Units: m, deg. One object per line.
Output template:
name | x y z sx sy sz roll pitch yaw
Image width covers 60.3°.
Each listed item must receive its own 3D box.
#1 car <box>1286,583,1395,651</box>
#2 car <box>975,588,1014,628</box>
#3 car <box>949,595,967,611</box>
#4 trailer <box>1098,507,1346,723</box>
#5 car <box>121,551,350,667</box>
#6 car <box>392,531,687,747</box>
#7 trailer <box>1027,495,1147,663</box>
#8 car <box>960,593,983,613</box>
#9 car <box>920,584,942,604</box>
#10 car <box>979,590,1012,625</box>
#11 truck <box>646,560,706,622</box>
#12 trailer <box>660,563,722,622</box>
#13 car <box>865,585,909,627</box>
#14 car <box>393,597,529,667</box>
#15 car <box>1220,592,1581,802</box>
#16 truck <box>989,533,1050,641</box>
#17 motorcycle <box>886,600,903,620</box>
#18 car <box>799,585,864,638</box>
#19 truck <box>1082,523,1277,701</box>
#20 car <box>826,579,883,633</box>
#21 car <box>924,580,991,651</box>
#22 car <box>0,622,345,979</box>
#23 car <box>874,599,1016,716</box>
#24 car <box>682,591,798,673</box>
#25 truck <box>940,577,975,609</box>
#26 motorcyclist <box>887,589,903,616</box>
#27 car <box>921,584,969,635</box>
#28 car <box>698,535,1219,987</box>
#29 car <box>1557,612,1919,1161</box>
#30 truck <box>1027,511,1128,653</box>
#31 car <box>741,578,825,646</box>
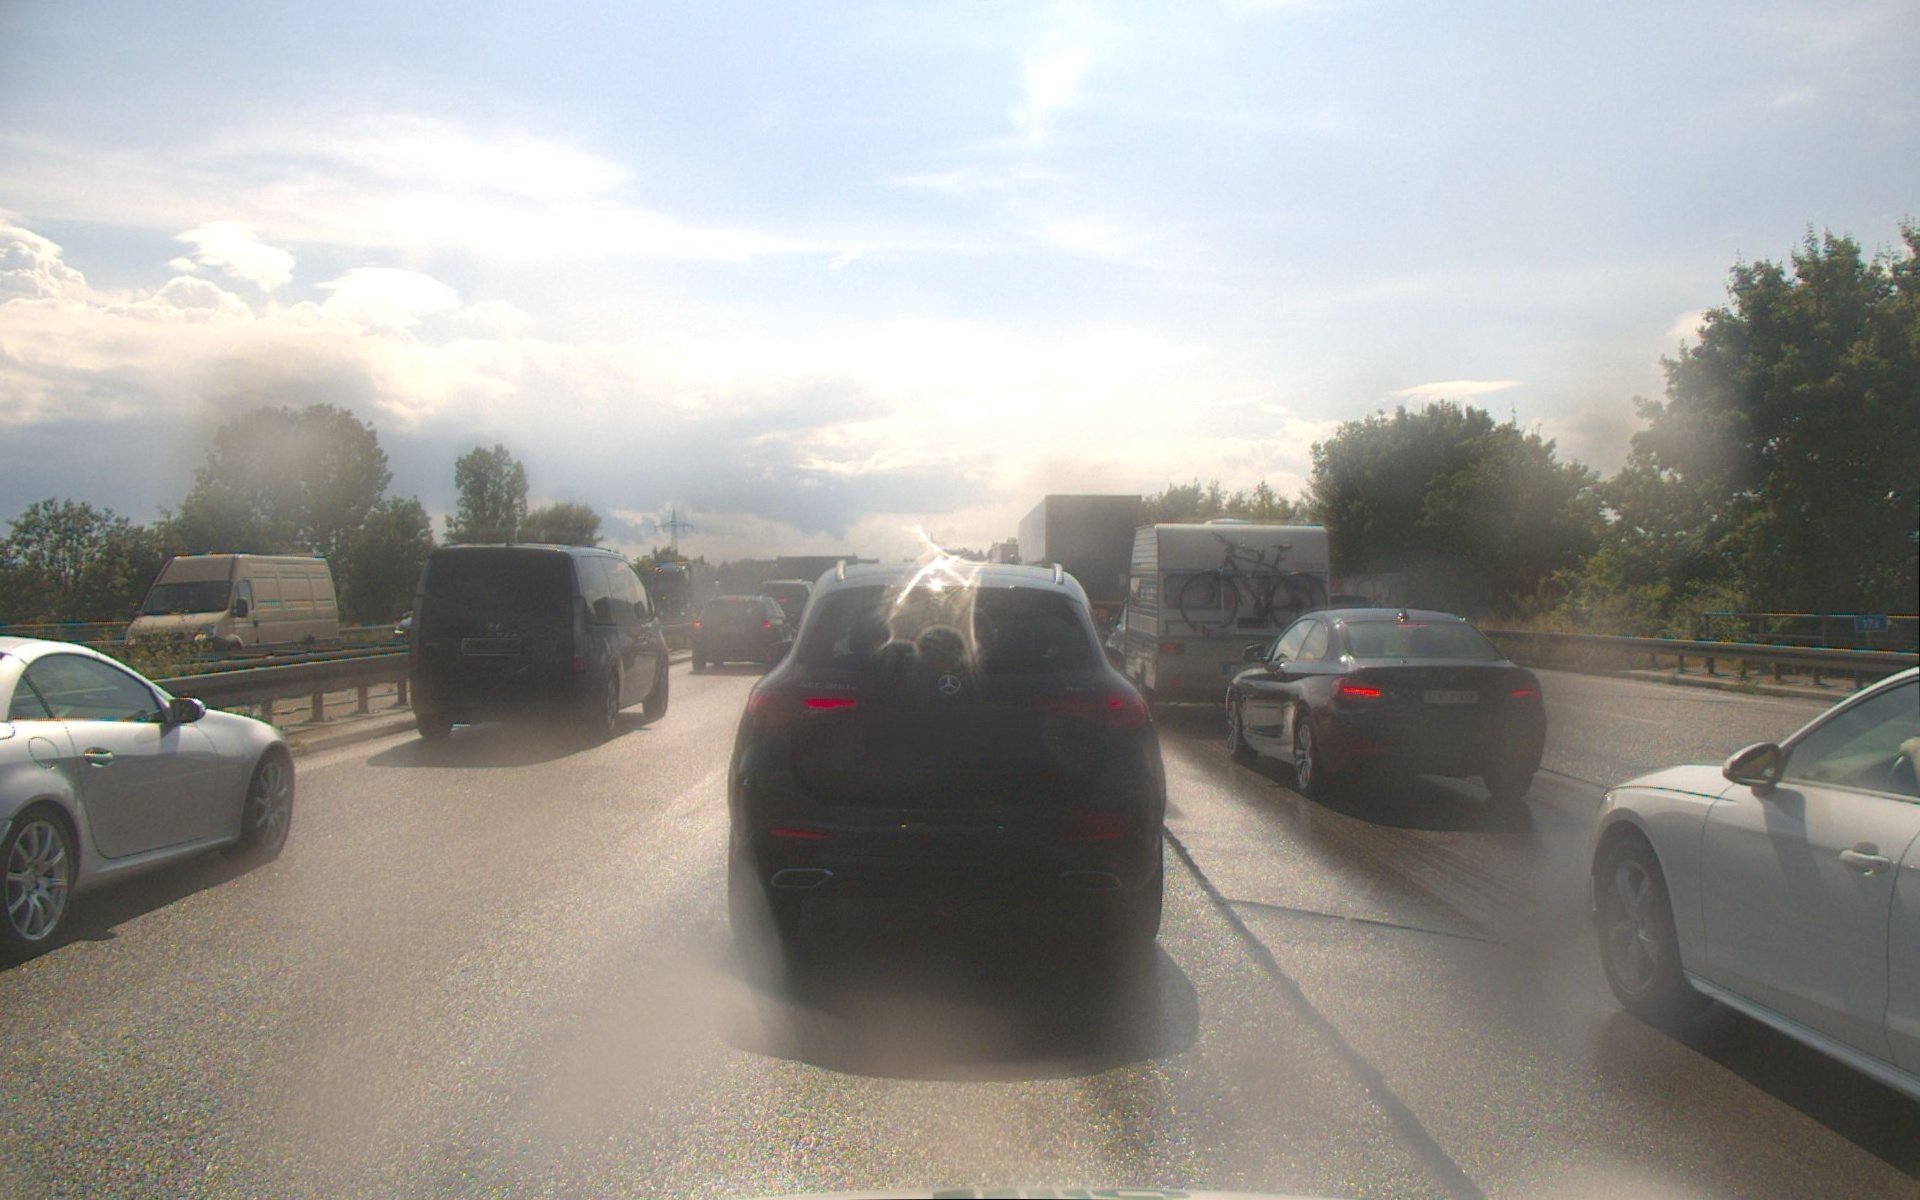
car | 9.825 0.410 43.041 1.783 1.649 4.363 1 0 0
car | 1.848 0.410 89.543 1.953 2.049 4.000 2 0 0
car | -0.204 0.316 192.080 1.838 1.791 3.997 1 0 -3
trailer | 3.388 0.184 22.885 2.326 2.526 6.522 1 0 0
car | -15.479 0.140 35.894 1.953 2.246 6.979 1 1 -1
car | -4.444 0.362 18.421 1.953 2.049 5.269 0 0 0
trailer | 3.426 -0.537 46.589 2.944 4.239 8.538 1 0 2
car | 1.050 0.247 151.087 1.838 1.791 3.997 1 0 -3
car | -2.648 -0.531 152.001 1.838 1.791 3.997 1 0 -3
car | 2.234 0.454 105.129 1.953 2.048 4.000 4 0 0
truck | -19.965 -0.587 116.716 2.943 4.175 7.685 -1 0 -1
trailer | -19.999 -0.546 123.457 2.943 4.175 10.475 -1 0 -1
car | -3.676 0.287 83.554 1.952 2.049 4.000 1 0 0
car | -11.610 0.709 38.765 1.953 1.485 4.097 2 0 -1
car | 3.490 0.696 13.953 1.811 1.489 4.254 0 0 -2
truck | 2.797 -0.597 79.530 2.451 4.914 7.541 1 0 -1
motorcycle | -4.380 0.678 110.905 1.052 1.293 2.690 0 0 0
car | -4.572 0.401 59.322 1.952 1.803 4.000 -1 0 0
truck | 3.370 0.180 26.675 2.326 2.520 5.755 1 0 0
car | -4.332 0.252 68.640 1.953 2.048 4.000 4 0 0
car | -0.058 0.467 52.906 1.953 2.048 4.000 4 0 0
car | -4.517 0.789 7.844 1.689 1.300 4.063 0 0 0
car | -0.157 0.699 22.180 1.721 1.411 3.945 0 0 1
car | -4.340 0.592 33.198 1.721 1.543 4.209 0 0 1
truck | -0.419 -0.866 219.895 3.767 4.087 11.211 1 0 -4
motorcyclist | -4.377 0.166 110.989 1.042 1.748 0.785 1 0 0
car | -0.593 0.369 68.917 1.952 2.049 4.000 0 0 0
car | -0.014 0.611 8.427 1.953 1.690 4.405 0 0 0
car | 3.451 0.799 4.554 1.790 1.450 4.508 3 -1 -2
truck | 3.617 -0.541 52.208 2.933 4.239 5.241 1 0 2
car | -4.805 0.315 45.428 1.953 1.750 3.999 1 0 -2
